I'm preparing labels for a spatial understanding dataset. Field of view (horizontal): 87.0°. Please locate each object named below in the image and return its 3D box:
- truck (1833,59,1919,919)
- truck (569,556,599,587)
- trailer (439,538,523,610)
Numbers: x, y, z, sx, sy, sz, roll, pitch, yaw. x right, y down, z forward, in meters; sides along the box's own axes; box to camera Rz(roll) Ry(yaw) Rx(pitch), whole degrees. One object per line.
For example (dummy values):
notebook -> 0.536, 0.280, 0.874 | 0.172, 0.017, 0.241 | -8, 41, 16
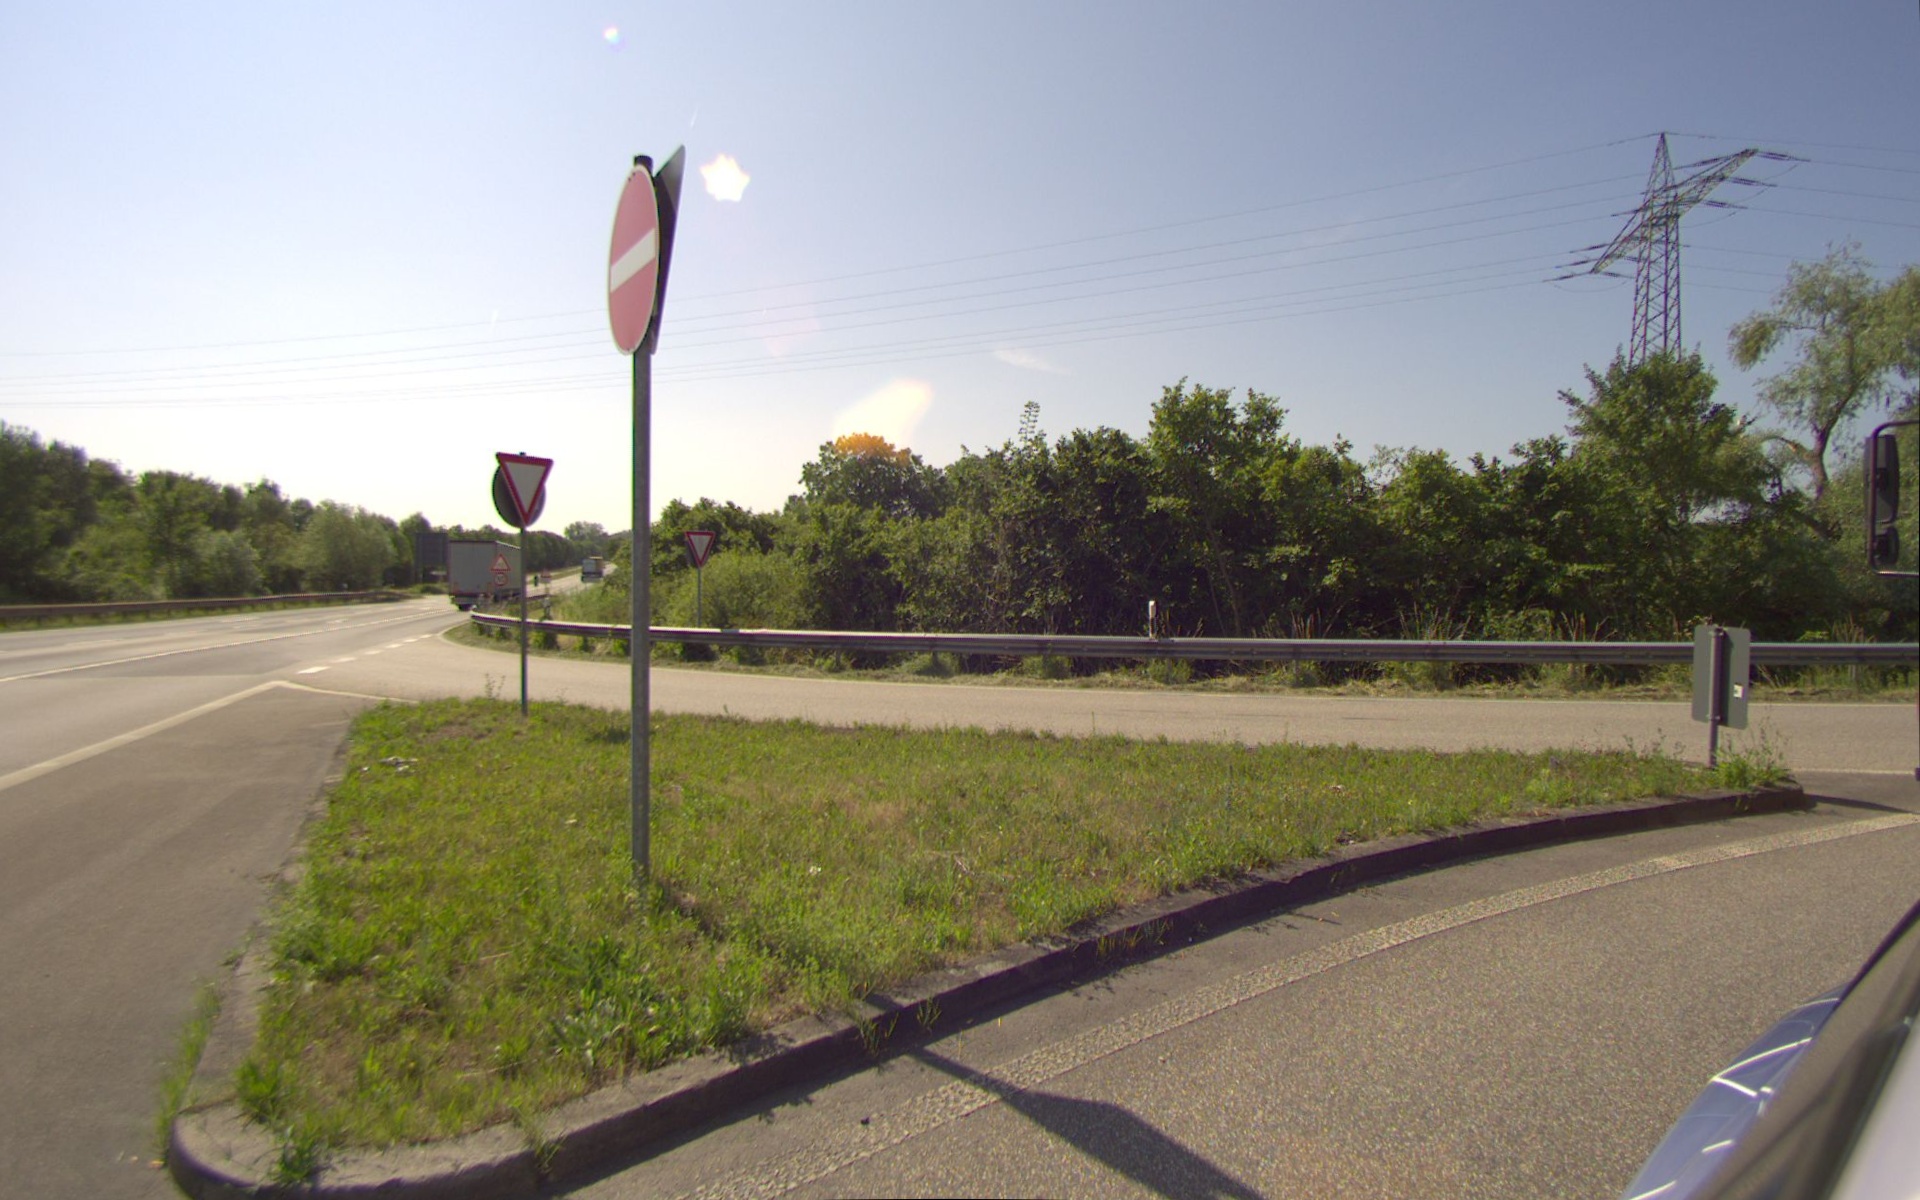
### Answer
truck -> 8.690, -0.469, 5.304 | 9.070, 3.707, 2.696 | 0, 0, -25
truck -> -70.325, -5.213, 189.695 | 4.051, 5.524, 13.635 | 0, 1, -15
trailer -> -29.952, -1.612, 63.874 | 2.869, 4.060, 13.446 | 0, 1, -17
